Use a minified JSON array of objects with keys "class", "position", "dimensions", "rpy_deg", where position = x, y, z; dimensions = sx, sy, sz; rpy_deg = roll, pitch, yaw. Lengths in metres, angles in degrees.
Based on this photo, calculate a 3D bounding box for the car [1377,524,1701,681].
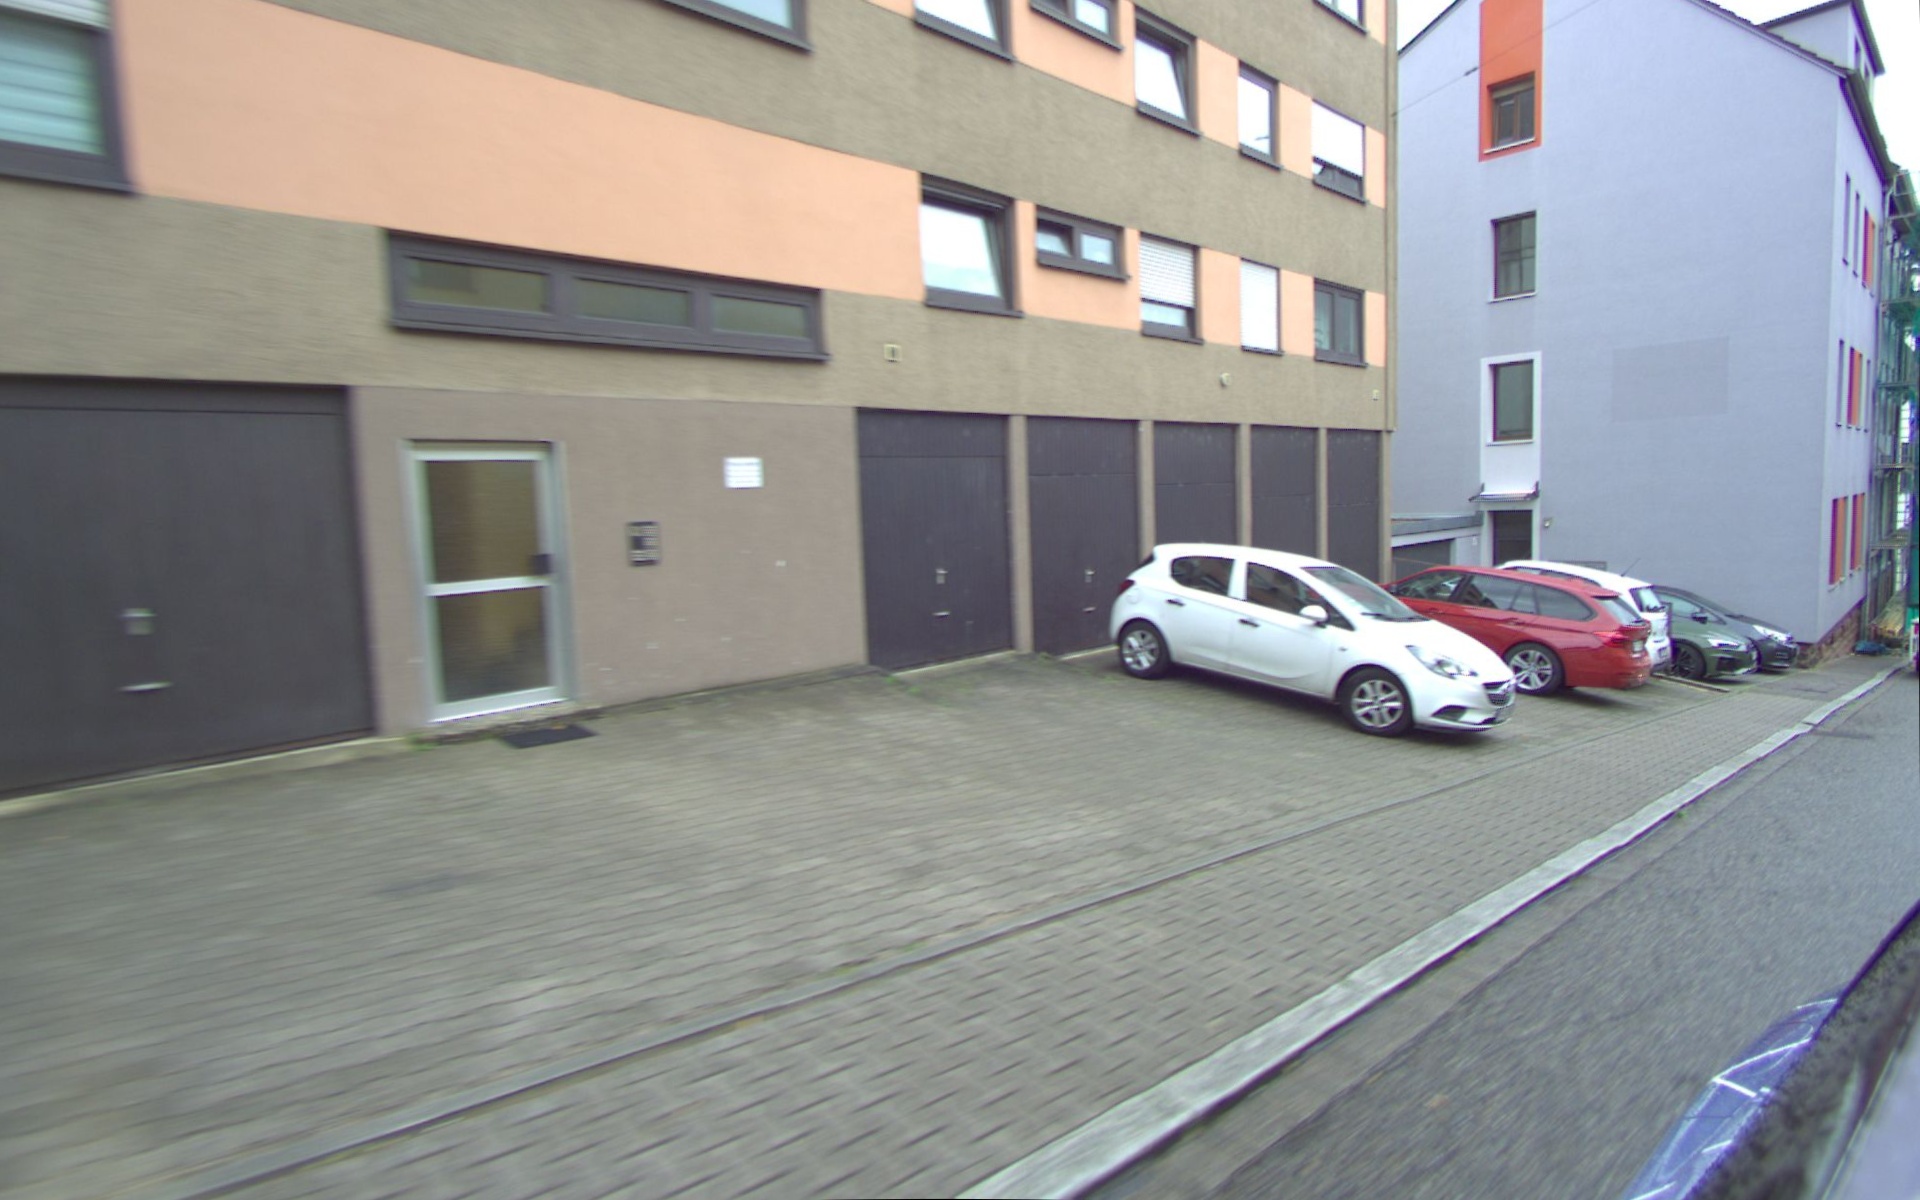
[{"class":"car","position":[8.762,-0.061,15.556],"dimensions":[1.700,1.721,3.835],"rpy_deg":[1,8,-44]}]

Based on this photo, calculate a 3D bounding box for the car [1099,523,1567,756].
[{"class":"car","position":[3.573,0.220,10.192],"dimensions":[3.966,1.547,1.666],"rpy_deg":[11,8,43]}]

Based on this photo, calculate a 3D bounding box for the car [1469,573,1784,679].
[{"class":"car","position":[11.543,0.356,17.732],"dimensions":[1.863,1.484,4.272],"rpy_deg":[0,3,-44]}]

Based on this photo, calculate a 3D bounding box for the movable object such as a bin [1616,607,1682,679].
[{"class":"movable object such as a bin","position":[10.767,0.656,15.814],"dimensions":[0.759,1.033,0.723],"rpy_deg":[-2,3,-44]}]

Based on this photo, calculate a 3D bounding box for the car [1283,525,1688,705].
[{"class":"car","position":[6.891,0.062,13.658],"dimensions":[1.846,1.546,4.353],"rpy_deg":[1,9,-44]}]

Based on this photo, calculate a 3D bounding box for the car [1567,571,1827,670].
[{"class":"car","position":[14.210,0.319,19.650],"dimensions":[1.633,1.569,3.806],"rpy_deg":[1,3,-44]}]
